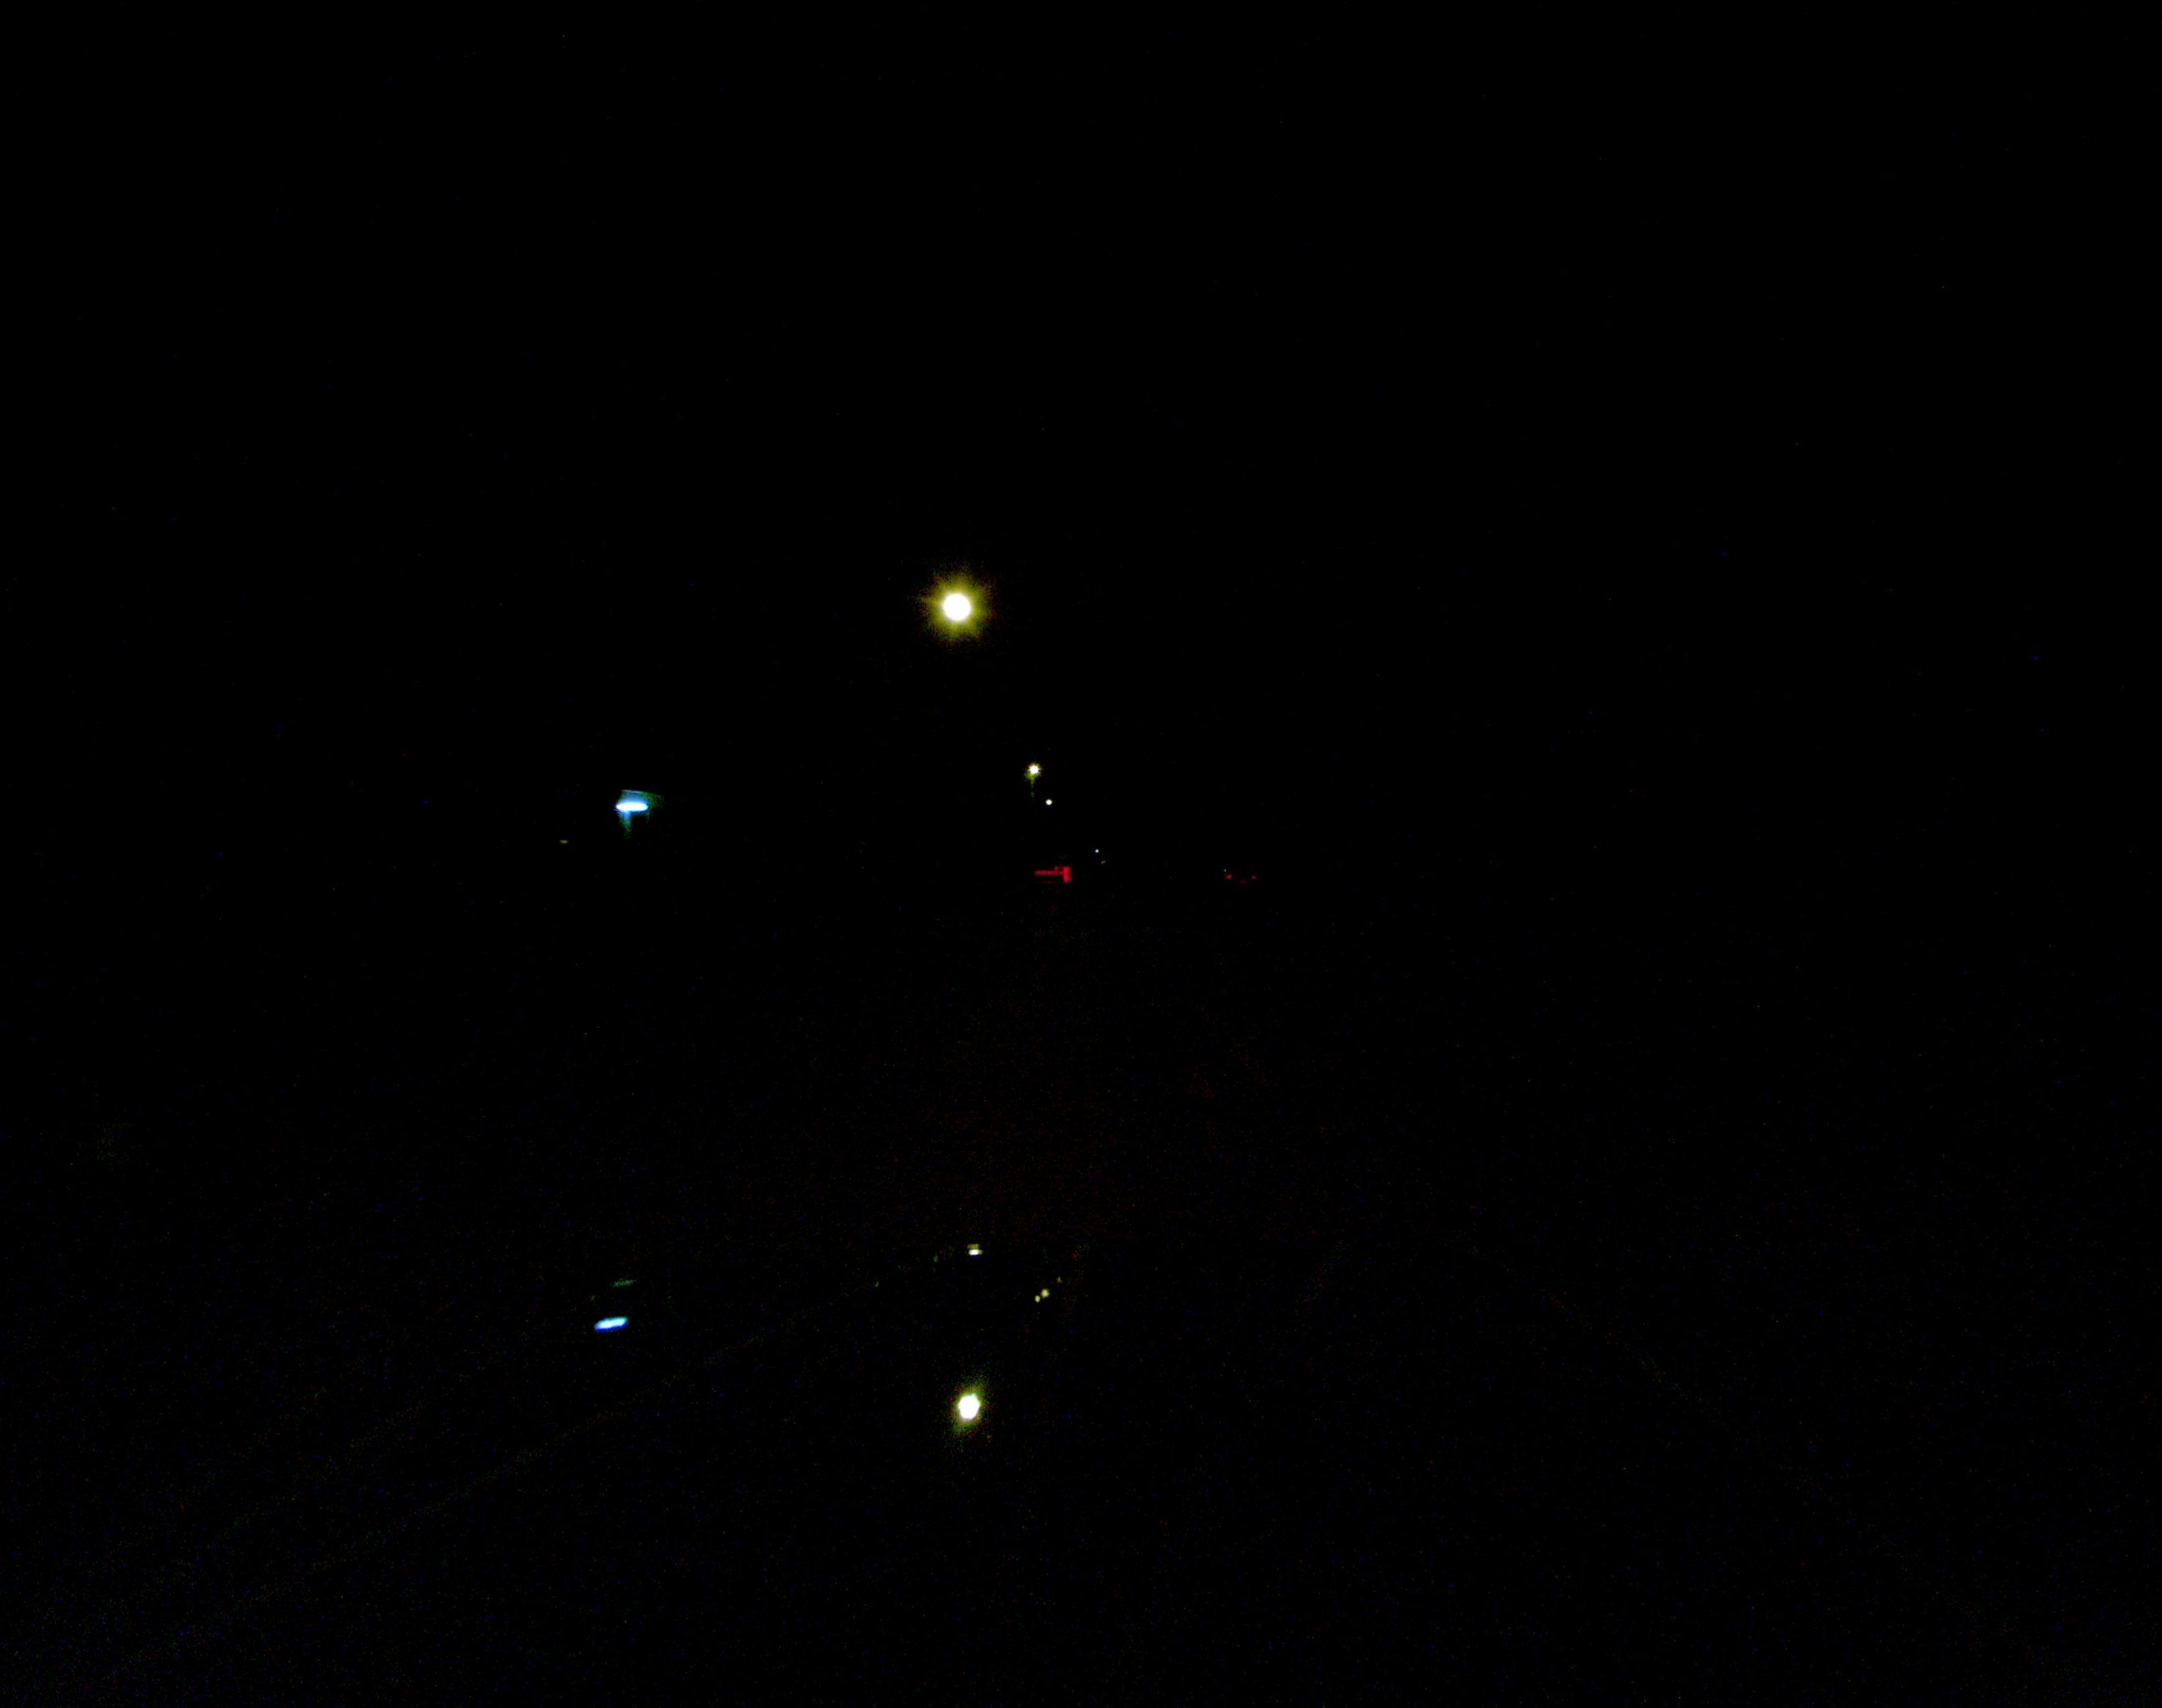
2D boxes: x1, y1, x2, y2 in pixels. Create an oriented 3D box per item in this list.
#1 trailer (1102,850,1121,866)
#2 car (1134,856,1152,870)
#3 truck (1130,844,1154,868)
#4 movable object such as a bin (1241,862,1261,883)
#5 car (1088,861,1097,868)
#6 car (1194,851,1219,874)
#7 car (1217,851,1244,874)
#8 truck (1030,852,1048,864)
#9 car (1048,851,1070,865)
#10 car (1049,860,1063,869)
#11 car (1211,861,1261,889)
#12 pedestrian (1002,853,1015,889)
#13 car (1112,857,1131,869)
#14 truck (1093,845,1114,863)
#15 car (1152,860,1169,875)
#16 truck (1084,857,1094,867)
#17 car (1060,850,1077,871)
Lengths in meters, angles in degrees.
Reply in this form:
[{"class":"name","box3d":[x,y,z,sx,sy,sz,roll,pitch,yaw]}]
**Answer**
[{"class":"trailer","box3d":[5.315,0.631,133.572,2.212,2.779,4.612,0,0,-11]},{"class":"car","box3d":[8.161,1.182,99.888,1.834,1.806,4.838,1,0,-1]},{"class":"truck","box3d":[8.495,0.248,106.829,2.550,3.261,7.311,0,0,-1]},{"class":"movable object such as a bin","box3d":[12.189,1.304,54.452,1.167,1.487,1.065,0,0,-3]},{"class":"car","box3d":[2.753,2.427,177.507,1.862,1.630,3.999,1,0,-2]},{"class":"car","box3d":[13.060,0.868,79.182,1.998,2.308,4.968,2,0,4]},{"class":"car","box3d":[15.692,0.922,79.752,2.212,2.308,4.626,1,0,4]},{"class":"truck","box3d":[-10.232,1.021,183.423,2.003,2.767,7.229,1,0,-24]},{"class":"car","box3d":[-4.937,0.865,170.256,2.393,3.224,7.217,0,0,-24]},{"class":"car","box3d":[-4.109,1.712,125.069,1.716,1.499,3.996,-1,0,-11]},{"class":"car","box3d":[8.431,1.106,41.651,1.916,1.395,4.338,1,0,1]},{"class":"pedestrian","box3d":[-3.754,0.891,39.596,0.572,1.842,0.820,0,0,1]},{"class":"car","box3d":[6.482,1.435,122.959,2.000,1.761,4.688,0,0,-10]},{"class":"truck","box3d":[4.157,0.006,141.358,2.381,3.224,7.225,0,0,-10]},{"class":"car","box3d":[8.463,1.422,81.254,1.759,1.517,4.324,0,0,4]},{"class":"truck","box3d":[1.947,1.957,187.726,2.138,2.597,7.099,1,0,-1]},{"class":"car","box3d":[-1.590,0.825,98.584,2.026,2.512,6.051,-1,0,0]}]
